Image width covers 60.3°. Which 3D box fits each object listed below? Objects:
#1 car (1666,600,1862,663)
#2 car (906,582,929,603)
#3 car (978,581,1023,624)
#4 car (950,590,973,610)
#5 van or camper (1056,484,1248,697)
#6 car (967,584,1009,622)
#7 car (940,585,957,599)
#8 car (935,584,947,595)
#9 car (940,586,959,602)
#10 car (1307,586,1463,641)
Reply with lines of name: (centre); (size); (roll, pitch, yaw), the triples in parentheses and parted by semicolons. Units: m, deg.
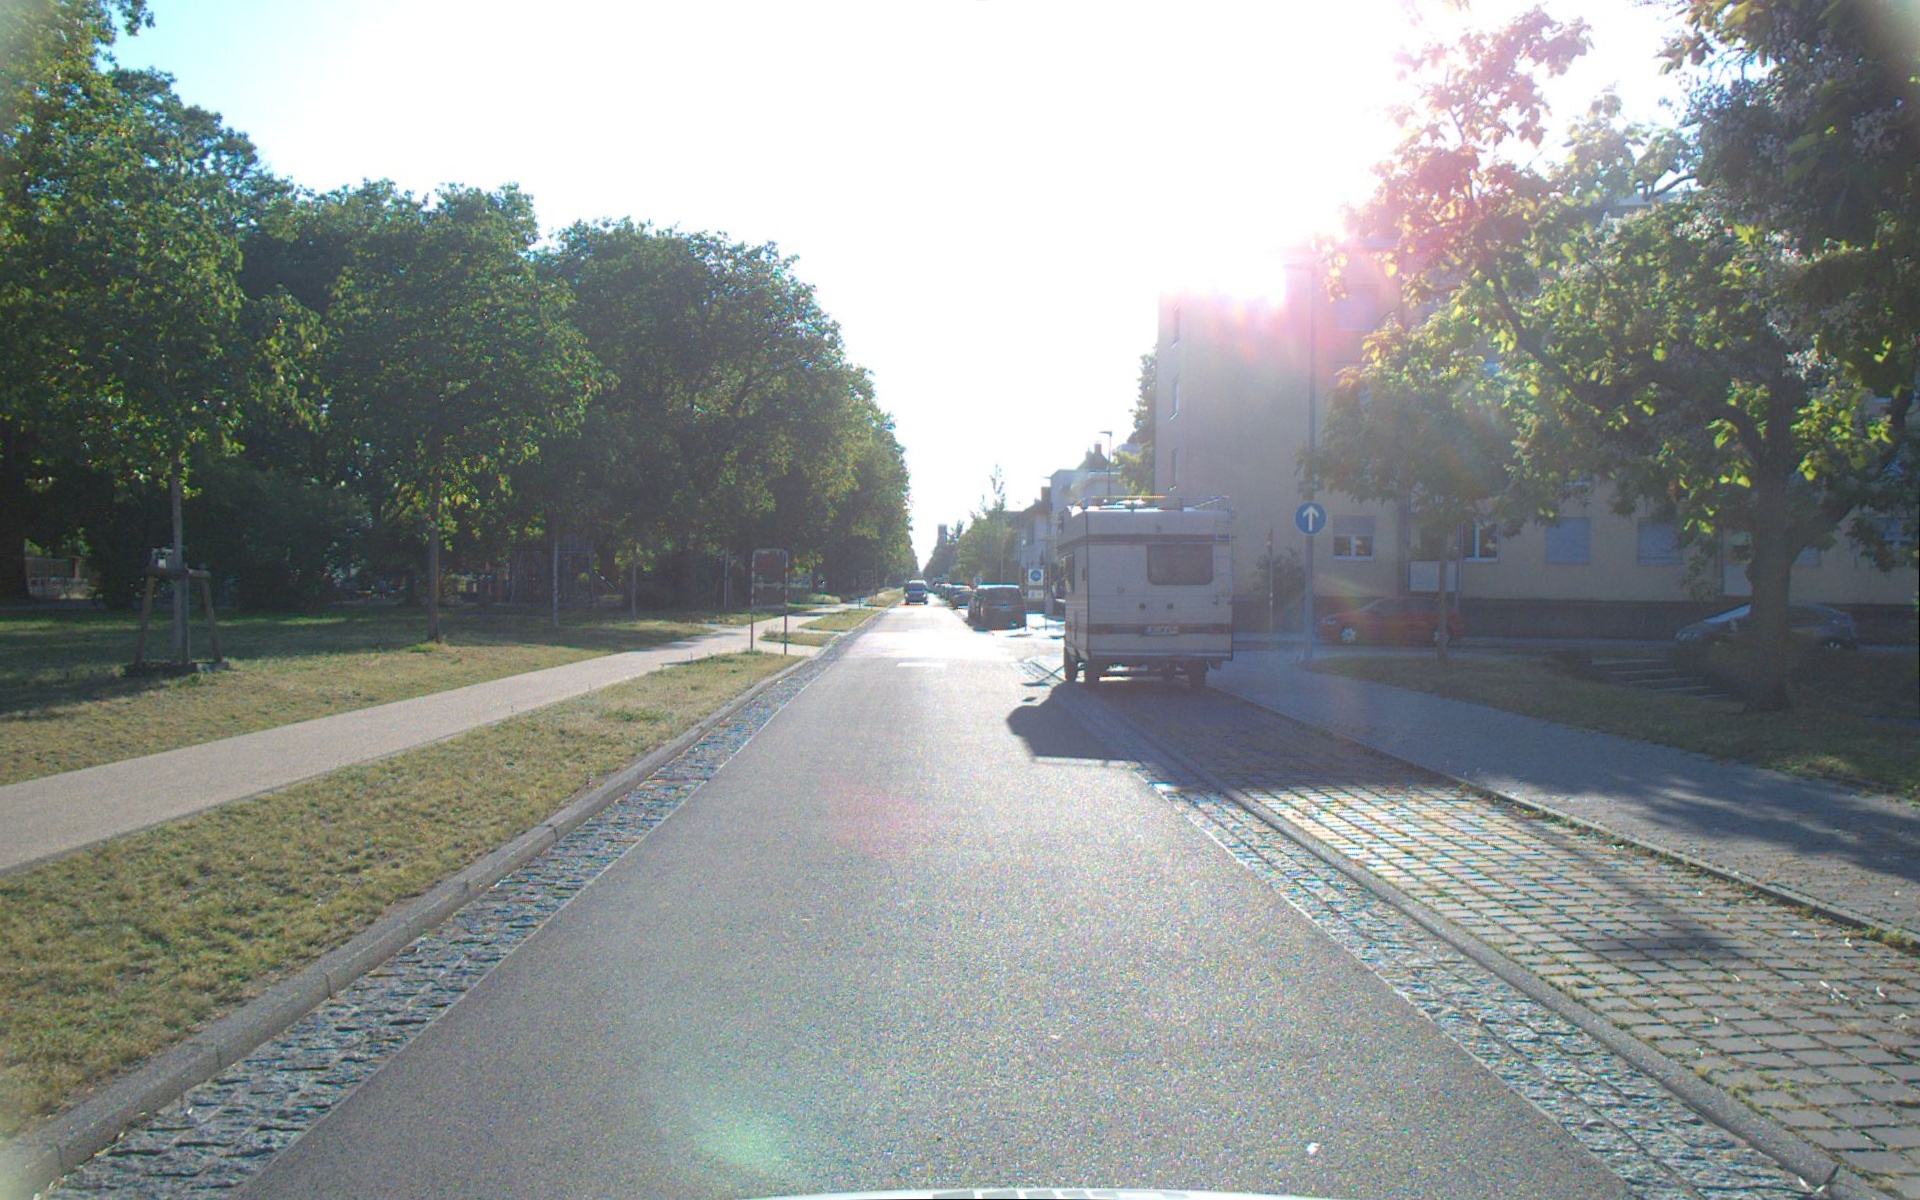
car: (19.901, 0.757, 41.084); (4.105, 1.488, 1.694); (0, 0, 14)
car: (-3.420, -0.600, 133.349); (1.789, 1.698, 4.248); (0, 0, -2)
car: (1.638, 0.110, 67.490); (1.593, 1.698, 4.248); (0, 0, -2)
car: (0.083, 0.013, 121.232); (1.593, 1.434, 4.248); (0, 0, -2)
van or camper: (2.849, -0.091, 25.887); (2.189, 2.955, 5.670); (0, -1, -2)
car: (1.344, 0.147, 78.652); (1.952, 1.747, 4.001); (0, 0, 1)
car: (-1.193, -0.803, 168.558); (1.593, 1.434, 4.248); (0, 0, -2)
car: (-2.574, -1.361, 221.053); (1.593, 1.434, 4.248); (0, 0, -2)
car: (-0.995, -0.525, 152.560); (1.593, 1.434, 4.248); (0, 0, -2)
car: (12.382, 0.387, 48.345); (4.107, 1.557, 2.001); (0, 0, 3)
